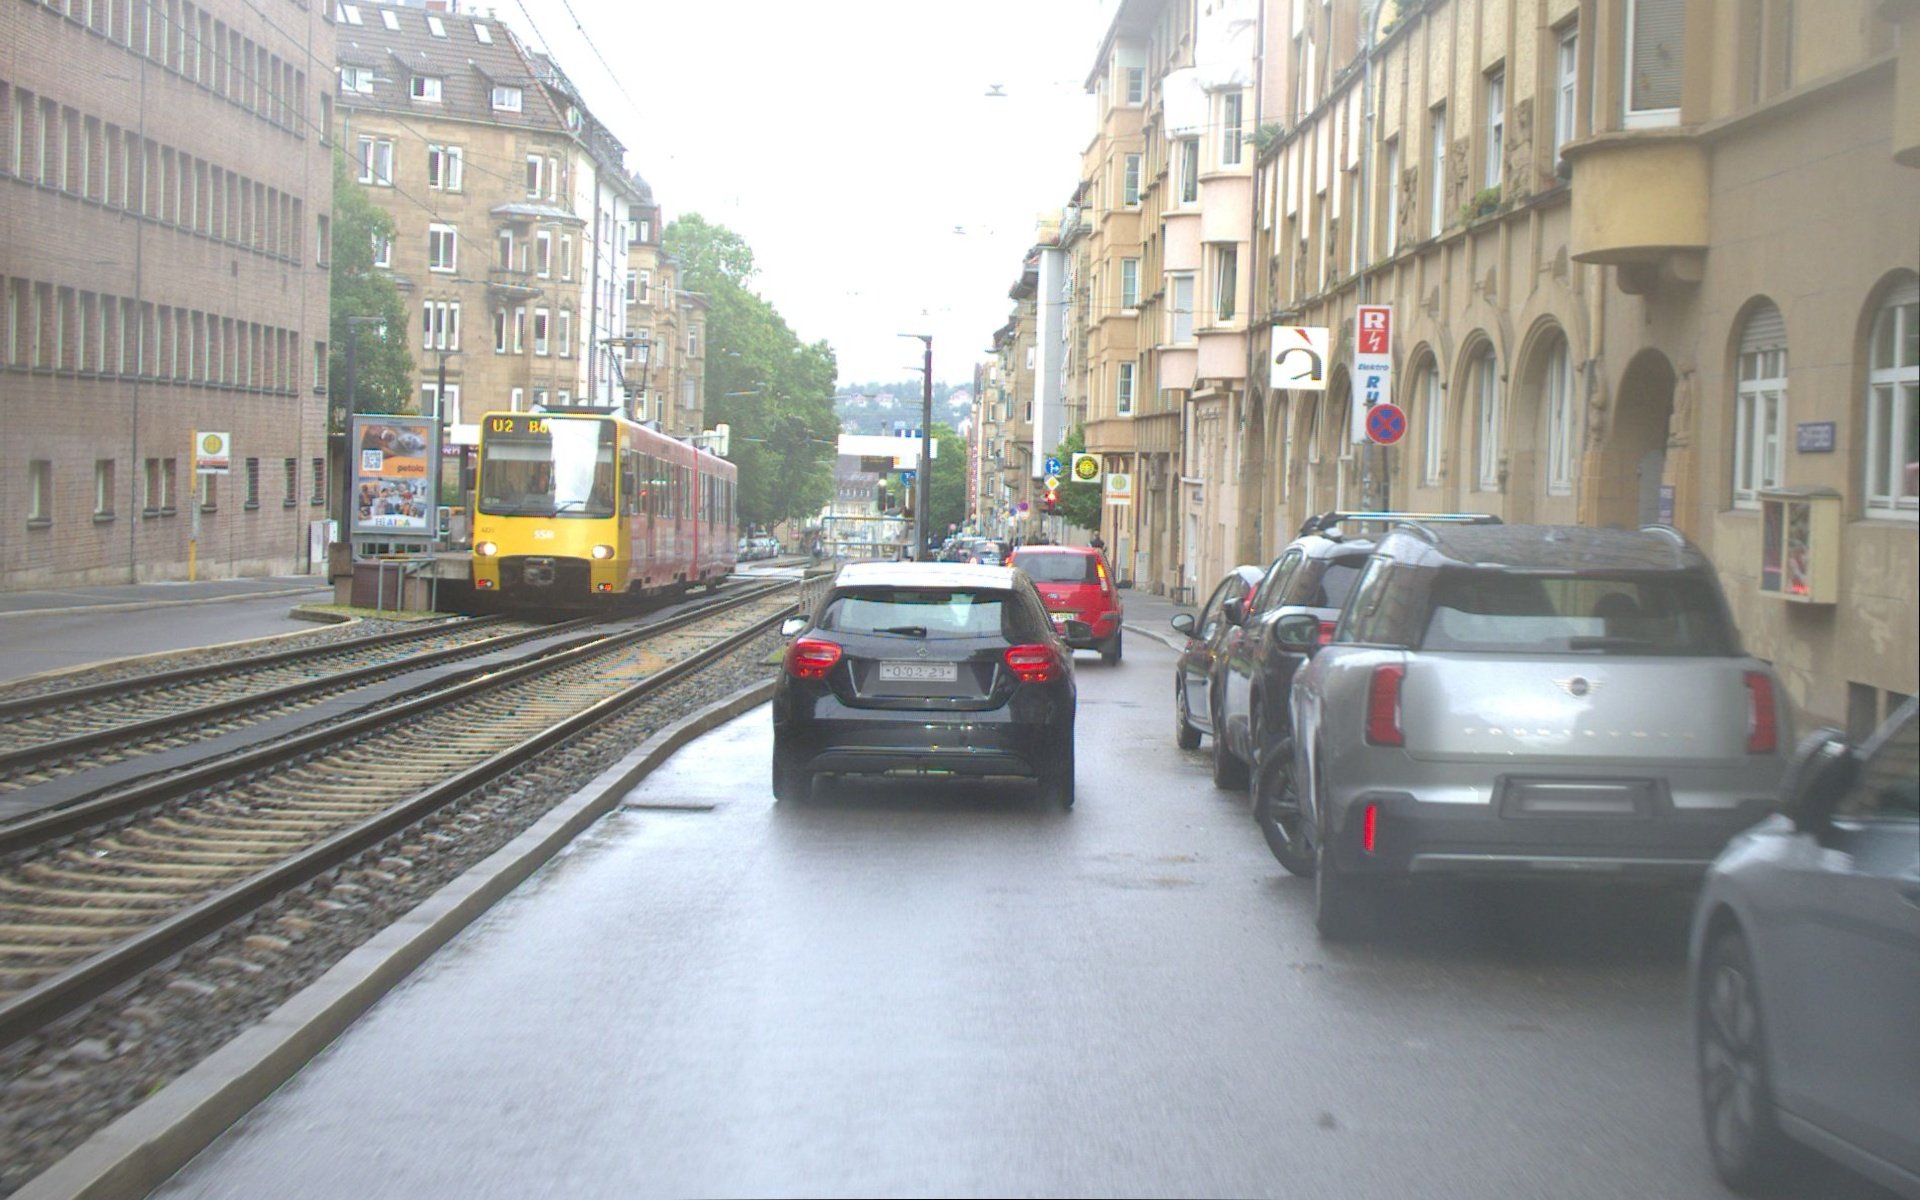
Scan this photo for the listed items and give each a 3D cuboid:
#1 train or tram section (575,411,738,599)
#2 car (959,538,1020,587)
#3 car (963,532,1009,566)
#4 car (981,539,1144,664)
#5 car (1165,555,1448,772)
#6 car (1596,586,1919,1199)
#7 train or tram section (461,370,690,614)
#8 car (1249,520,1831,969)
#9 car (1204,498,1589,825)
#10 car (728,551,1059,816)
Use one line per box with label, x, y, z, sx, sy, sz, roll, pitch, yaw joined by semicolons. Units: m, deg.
train or tram section;-7.106;-2.227;82.515;2.745;4.048;15.662;1;1;-1
car;0.997;-1.236;113.824;1.887;1.520;4.245;2;1;2
car;1.236;-2.426;164.589;2.134;1.520;4.246;2;1;0
car;1.315;-0.005;45.828;1.993;1.520;4.246;2;1;0
car;2.511;0.430;25.563;1.591;1.435;3.310;3;0;-2
car;2.693;0.724;6.891;1.832;1.463;4.376;1;0;-2
train or tram section;-7.125;-1.984;66.217;2.745;4.048;17.216;1;1;-1
car;2.306;0.512;14.887;1.841;1.602;4.760;1;0;2
car;2.533;0.321;20.944;1.778;1.744;4.548;1;0;1
car;-0.378;0.444;21.274;1.834;1.448;3.902;1;1;0
